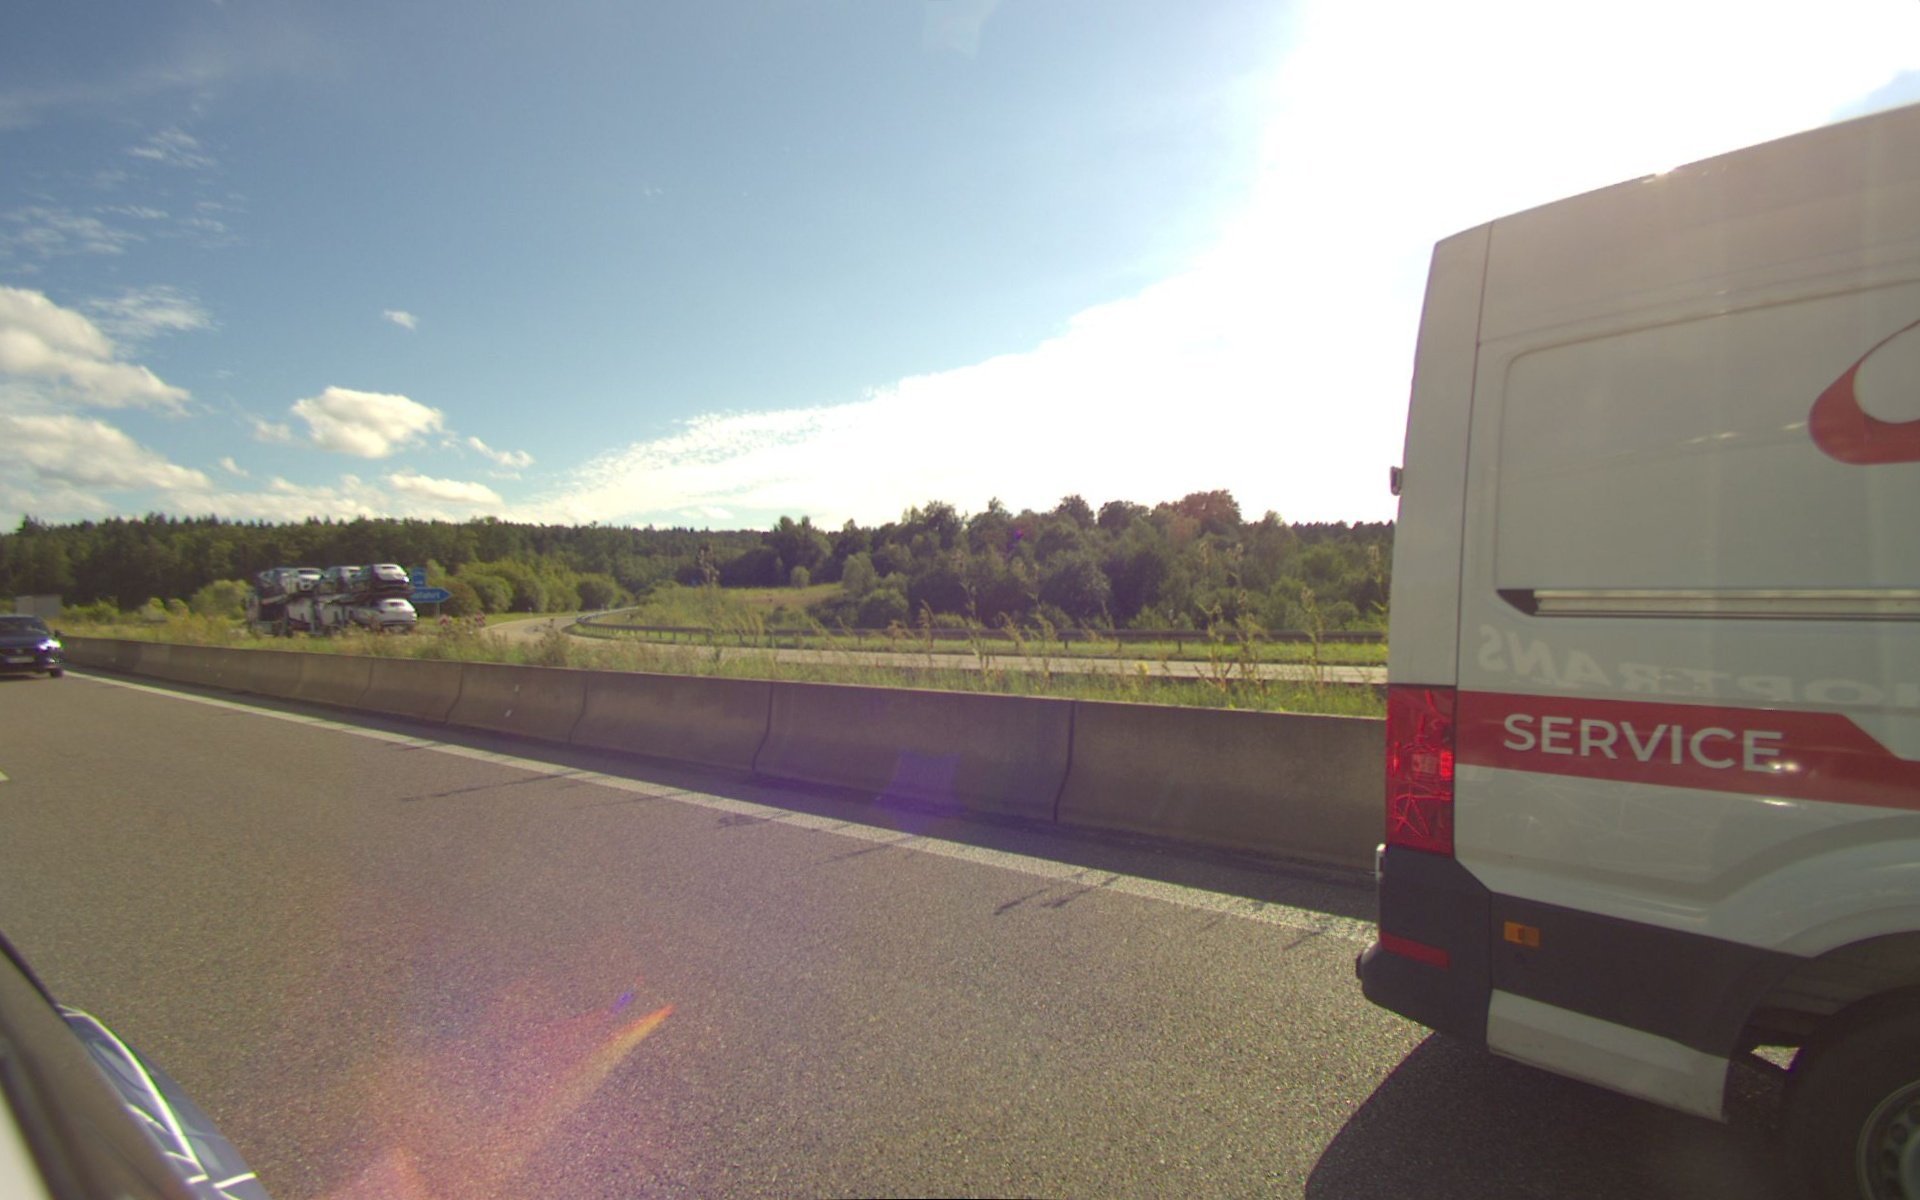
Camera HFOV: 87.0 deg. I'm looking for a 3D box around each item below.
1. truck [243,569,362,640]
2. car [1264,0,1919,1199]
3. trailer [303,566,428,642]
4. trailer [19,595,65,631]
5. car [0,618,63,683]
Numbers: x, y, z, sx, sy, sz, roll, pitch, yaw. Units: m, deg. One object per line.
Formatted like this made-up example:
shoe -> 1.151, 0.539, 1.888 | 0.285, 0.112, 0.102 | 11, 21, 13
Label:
truck -> -37.643, 0.310, 57.691 | 11.128, 3.717, 2.802 | -1, 0, 42
car -> 3.830, 0.083, 1.496 | 6.179, 2.619, 1.994 | -2, -2, 41
trailer -> -30.083, 0.239, 51.003 | 8.950, 3.555, 2.769 | -1, -1, 42
trailer -> -110.404, 1.577, 121.563 | 13.547, 4.022, 2.802 | -1, 0, 43
car -> -24.634, 1.258, 26.136 | 4.157, 1.554, 1.755 | -1, -1, 42
